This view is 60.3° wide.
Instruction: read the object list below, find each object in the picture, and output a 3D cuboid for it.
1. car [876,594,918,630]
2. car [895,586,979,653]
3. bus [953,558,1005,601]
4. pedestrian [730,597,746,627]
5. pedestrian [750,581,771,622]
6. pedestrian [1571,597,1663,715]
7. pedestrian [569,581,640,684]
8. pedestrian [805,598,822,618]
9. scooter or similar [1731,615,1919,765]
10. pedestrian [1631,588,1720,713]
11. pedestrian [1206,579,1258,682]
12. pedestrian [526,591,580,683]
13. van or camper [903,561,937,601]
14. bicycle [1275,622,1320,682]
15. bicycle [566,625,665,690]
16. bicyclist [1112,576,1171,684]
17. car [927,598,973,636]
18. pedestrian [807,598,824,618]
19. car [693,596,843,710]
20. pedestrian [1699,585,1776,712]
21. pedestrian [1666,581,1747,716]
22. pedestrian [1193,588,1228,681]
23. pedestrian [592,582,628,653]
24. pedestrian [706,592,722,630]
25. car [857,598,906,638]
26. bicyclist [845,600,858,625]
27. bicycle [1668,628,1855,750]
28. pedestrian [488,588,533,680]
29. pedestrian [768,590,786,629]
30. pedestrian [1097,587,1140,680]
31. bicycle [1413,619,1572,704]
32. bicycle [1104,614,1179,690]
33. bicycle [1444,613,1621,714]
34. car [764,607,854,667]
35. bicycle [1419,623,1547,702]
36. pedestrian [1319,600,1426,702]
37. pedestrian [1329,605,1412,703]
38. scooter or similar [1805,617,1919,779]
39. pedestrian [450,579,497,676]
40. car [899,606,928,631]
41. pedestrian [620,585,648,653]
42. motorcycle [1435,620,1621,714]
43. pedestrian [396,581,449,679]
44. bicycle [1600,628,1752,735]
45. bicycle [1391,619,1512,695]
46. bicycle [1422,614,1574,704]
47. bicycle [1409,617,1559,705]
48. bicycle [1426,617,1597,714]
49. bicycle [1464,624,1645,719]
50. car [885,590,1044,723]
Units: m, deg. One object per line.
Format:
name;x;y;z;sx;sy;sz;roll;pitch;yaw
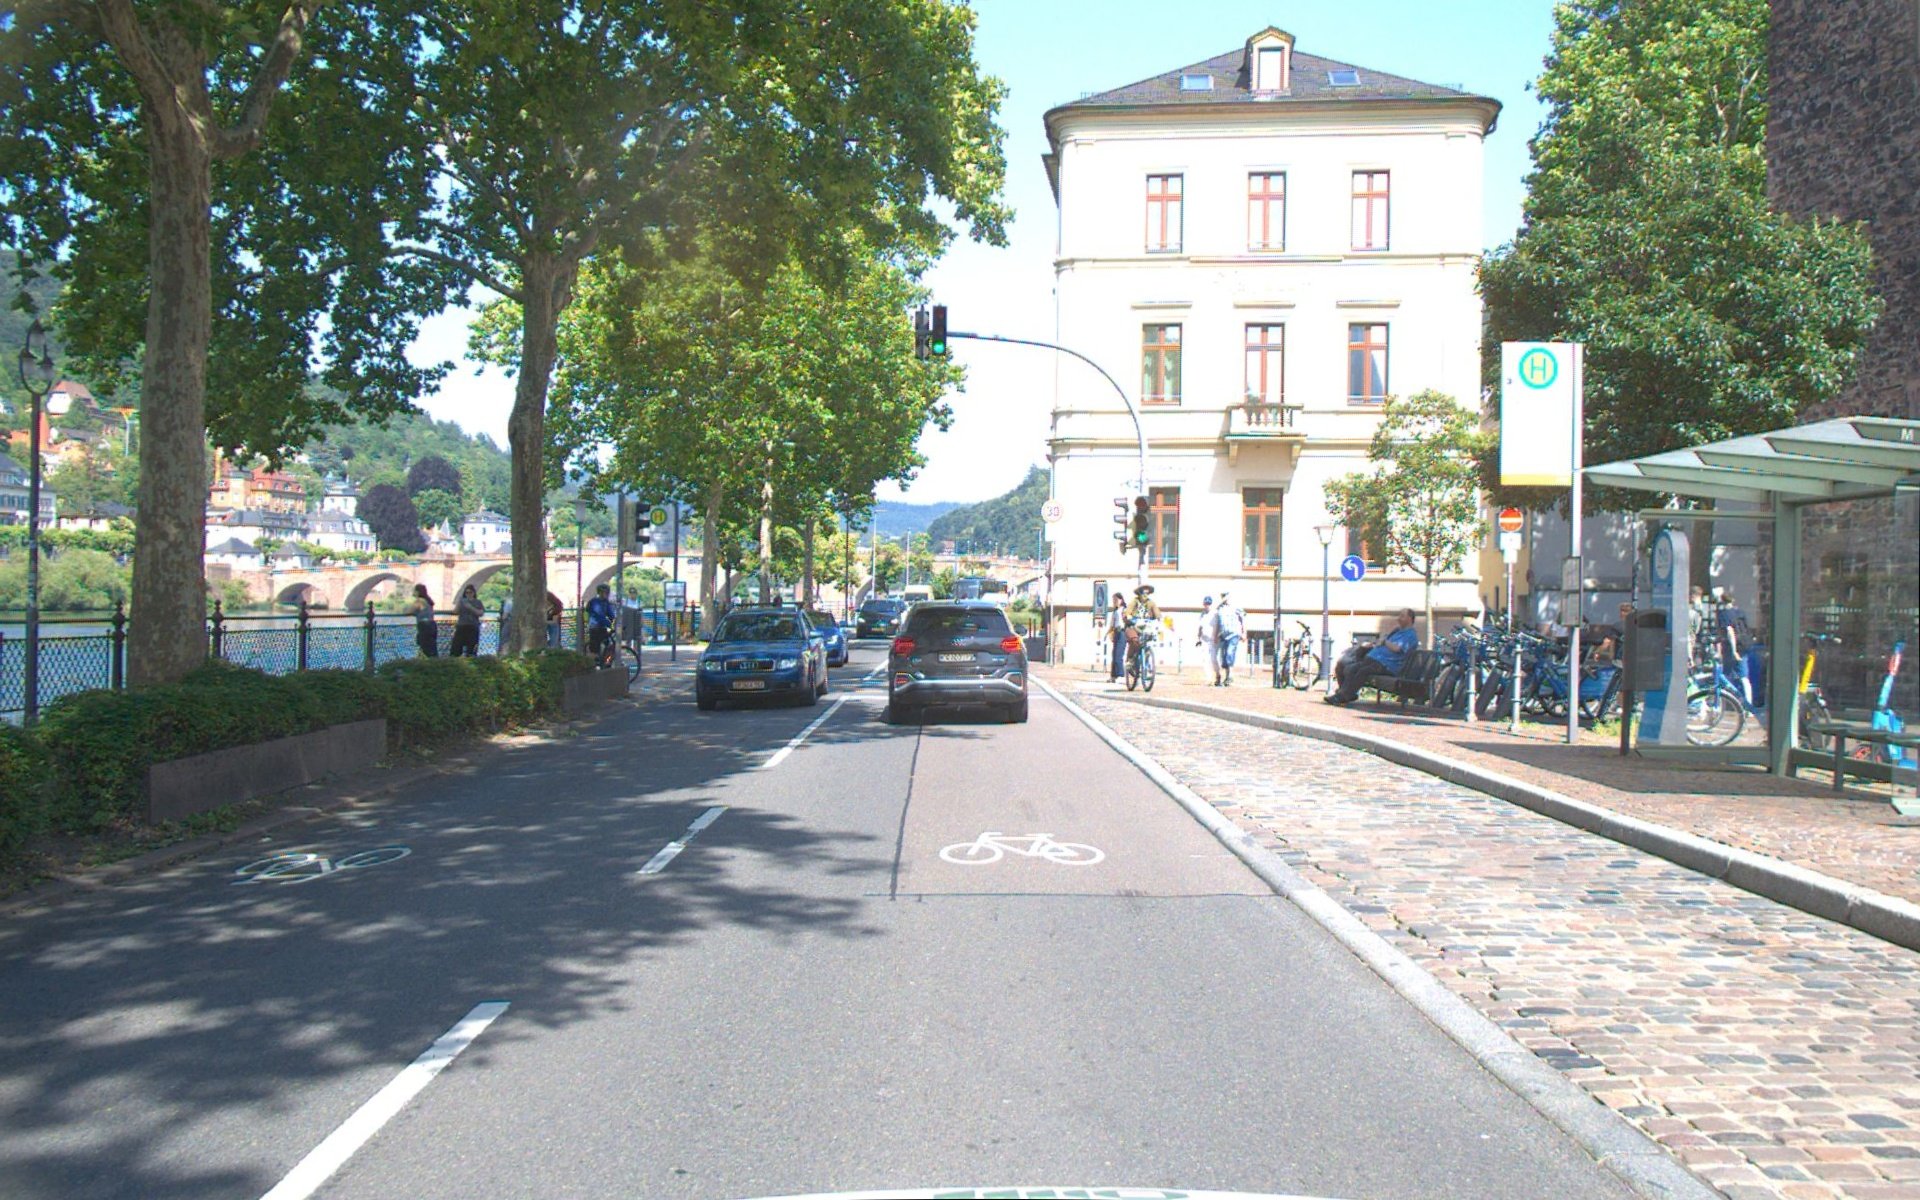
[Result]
car;-3.114;0.550;80.659;1.702;1.544;4.399;0;2;-7
car;-0.561;0.444;39.911;1.887;1.486;4.831;1;0;-1
bus;1.889;-1.868;155.706;2.575;3.626;12.993;1;-1;11
pedestrian;-12.419;0.657;92.492;0.679;1.644;0.664;1;-1;7
pedestrian;-7.924;0.049;65.785;0.746;1.614;0.696;1;-1;-1
pedestrian;10.271;0.862;25.880;0.972;1.796;0.922;1;-1;-20
pedestrian;-6.394;0.574;29.726;1.006;1.804;0.765;1;-1;40
pedestrian;-9.714;0.533;109.779;0.916;1.303;0.850;1;0;8
scooter or similar;7.725;0.788;14.701;1.401;1.237;0.652;3;-1;-1
pedestrian;10.430;0.721;24.129;0.789;1.784;0.906;1;-1;-14
pedestrian;5.069;0.565;30.793;0.718;1.884;0.614;0;-1;45
pedestrian;-7.827;0.708;31.824;0.818;1.743;0.782;1;-1;-1
van or camper;-2.792;-1.295;116.858;2.044;2.602;7.092;1;0;1
bicycle;6.018;0.941;29.559;0.497;1.021;1.580;2;-3;2
bicycle;-6.176;1.021;29.568;1.798;0.941;0.738;7;2;40
bicyclist;2.834;0.469;25.885;0.695;1.657;0.885;1;-1;-8
car;-0.399;0.704;71.744;1.887;1.580;4.832;0;0;1
pedestrian;-9.666;0.538;110.703;0.916;1.303;0.850;1;0;8
car;-2.868;0.756;25.541;1.666;1.544;4.405;-2;0;1
pedestrian;12.356;0.762;26.292;0.793;1.976;0.783;1;-1;-27
pedestrian;11.244;0.723;24.937;0.644;1.995;0.935;1;-1;-18
pedestrian;4.750;0.652;31.378;0.516;1.742;0.665;1;-1;-1
pedestrian;-8.966;0.448;42.367;0.697;1.795;0.972;1;0;-1
pedestrian;-13.104;0.587;88.015;0.679;1.979;0.886;1;-1;-1
car;-3.178;0.708;67.653;1.666;1.544;4.405;-1;0;1
bicyclist;-7.153;0.819;108.879;0.704;1.611;1.089;1;0;2
bicycle;8.171;0.884;16.932;0.540;1.151;1.720;1;0;-30
pedestrian;-8.627;0.651;31.749;0.639;1.743;0.793;0;0;-1
pedestrian;-8.336;0.431;75.212;0.643;1.711;0.758;3;-1;-1
pedestrian;2.950;0.612;30.774;0.701;1.705;0.682;1;-1;-1
bicycle;7.527;0.862;23.418;2.038;1.104;0.604;2;0;-2
bicycle;2.822;0.801;25.904;0.676;1.149;2.005;1;-1;-8
bicycle;7.569;0.832;21.915;2.038;1.219;0.776;2;1;-2
car;-3.584;0.856;39.915;1.803;1.291;4.261;-2;0;-1
bicycle;8.111;0.960;25.692;1.756;1.130;0.608;2;1;-2
pedestrian;5.515;0.676;22.158;1.222;1.330;0.693;1;-1;-3
pedestrian;5.657;0.735;22.841;0.941;1.304;0.693;1;-1;-3
scooter or similar;7.643;0.787;13.224;1.401;1.237;0.652;3;-1;-1
pedestrian;-8.854;0.489;30.126;0.606;1.730;0.696;2;-1;-1
car;-2.869;1.138;102.135;1.666;1.484;4.002;0;0;0
pedestrian;-8.051;0.475;40.845;0.483;1.646;0.991;1;0;-1
motorcycle;7.507;0.878;21.912;2.160;1.123;0.776;2;1;-2
pedestrian;-9.293;0.519;28.609;0.538;1.636;0.911;3;-1;-1
bicycle;8.575;0.959;19.845;1.515;1.219;0.725;1;0;5
bicycle;7.955;0.918;26.815;1.756;1.130;0.563;2;1;-2
bicycle;7.931;0.863;24.426;2.038;1.219;0.527;2;0;-2
bicycle;7.915;0.917;25.028;2.038;1.219;0.608;2;1;-2
bicycle;7.550;0.887;22.698;2.038;1.219;0.776;2;1;-2
bicycle;7.561;0.901;21.097;1.983;1.084;0.800;2;1;-2
car;0.009;0.674;22.131;1.887;1.580;4.831;0;0;-1
